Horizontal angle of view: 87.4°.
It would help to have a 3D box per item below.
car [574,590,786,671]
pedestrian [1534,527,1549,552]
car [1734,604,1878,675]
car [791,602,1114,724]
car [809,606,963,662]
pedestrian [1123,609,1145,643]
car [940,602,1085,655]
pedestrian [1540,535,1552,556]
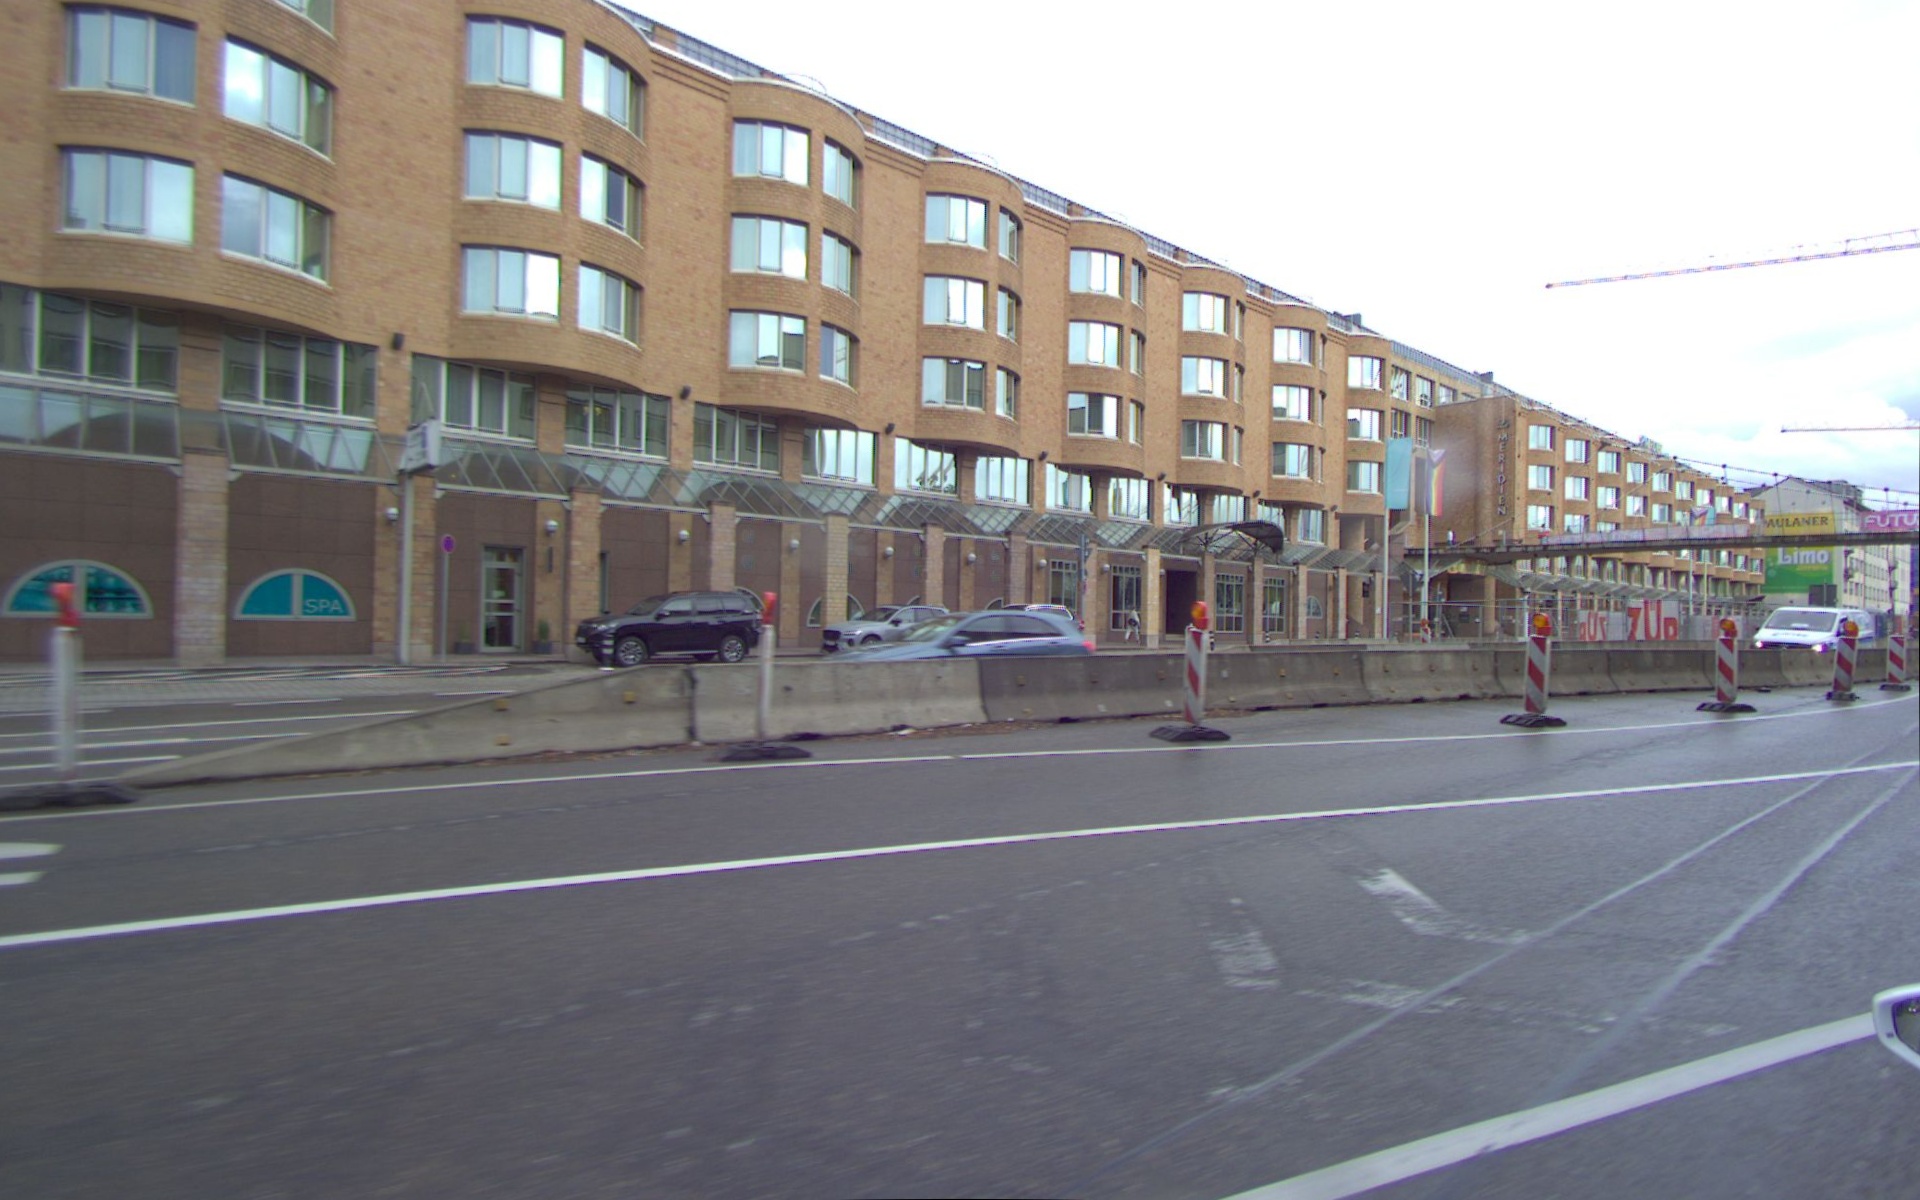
[{"bbox_3d":[-7.178,0.752,26.089,4.978,1.911,1.975,1,-1,-43],"label":"car"},{"bbox_3d":[36.160,-3.775,62.491,0.612,1.471,0.616,1,-2,-36],"label":"pedestrian"},{"bbox_3d":[24.672,1.099,29.248,4.819,1.910,1.981,1,-1,-34],"label":"car"},{"bbox_3d":[-0.052,0.808,14.206,4.184,1.478,1.982,1,-1,-34],"label":"car"},{"bbox_3d":[-2.226,1.000,31.007,4.507,1.615,1.975,1,-1,-43],"label":"car"},{"bbox_3d":[7.550,1.131,43.647,0.730,1.471,0.612,1,-2,-37],"label":"pedestrian"},{"bbox_3d":[1.882,0.942,34.610,5.008,1.713,1.977,1,-1,-40],"label":"car"},{"bbox_3d":[36.517,-3.392,62.560,0.479,1.210,0.472,1,-2,-36],"label":"pedestrian"}]
